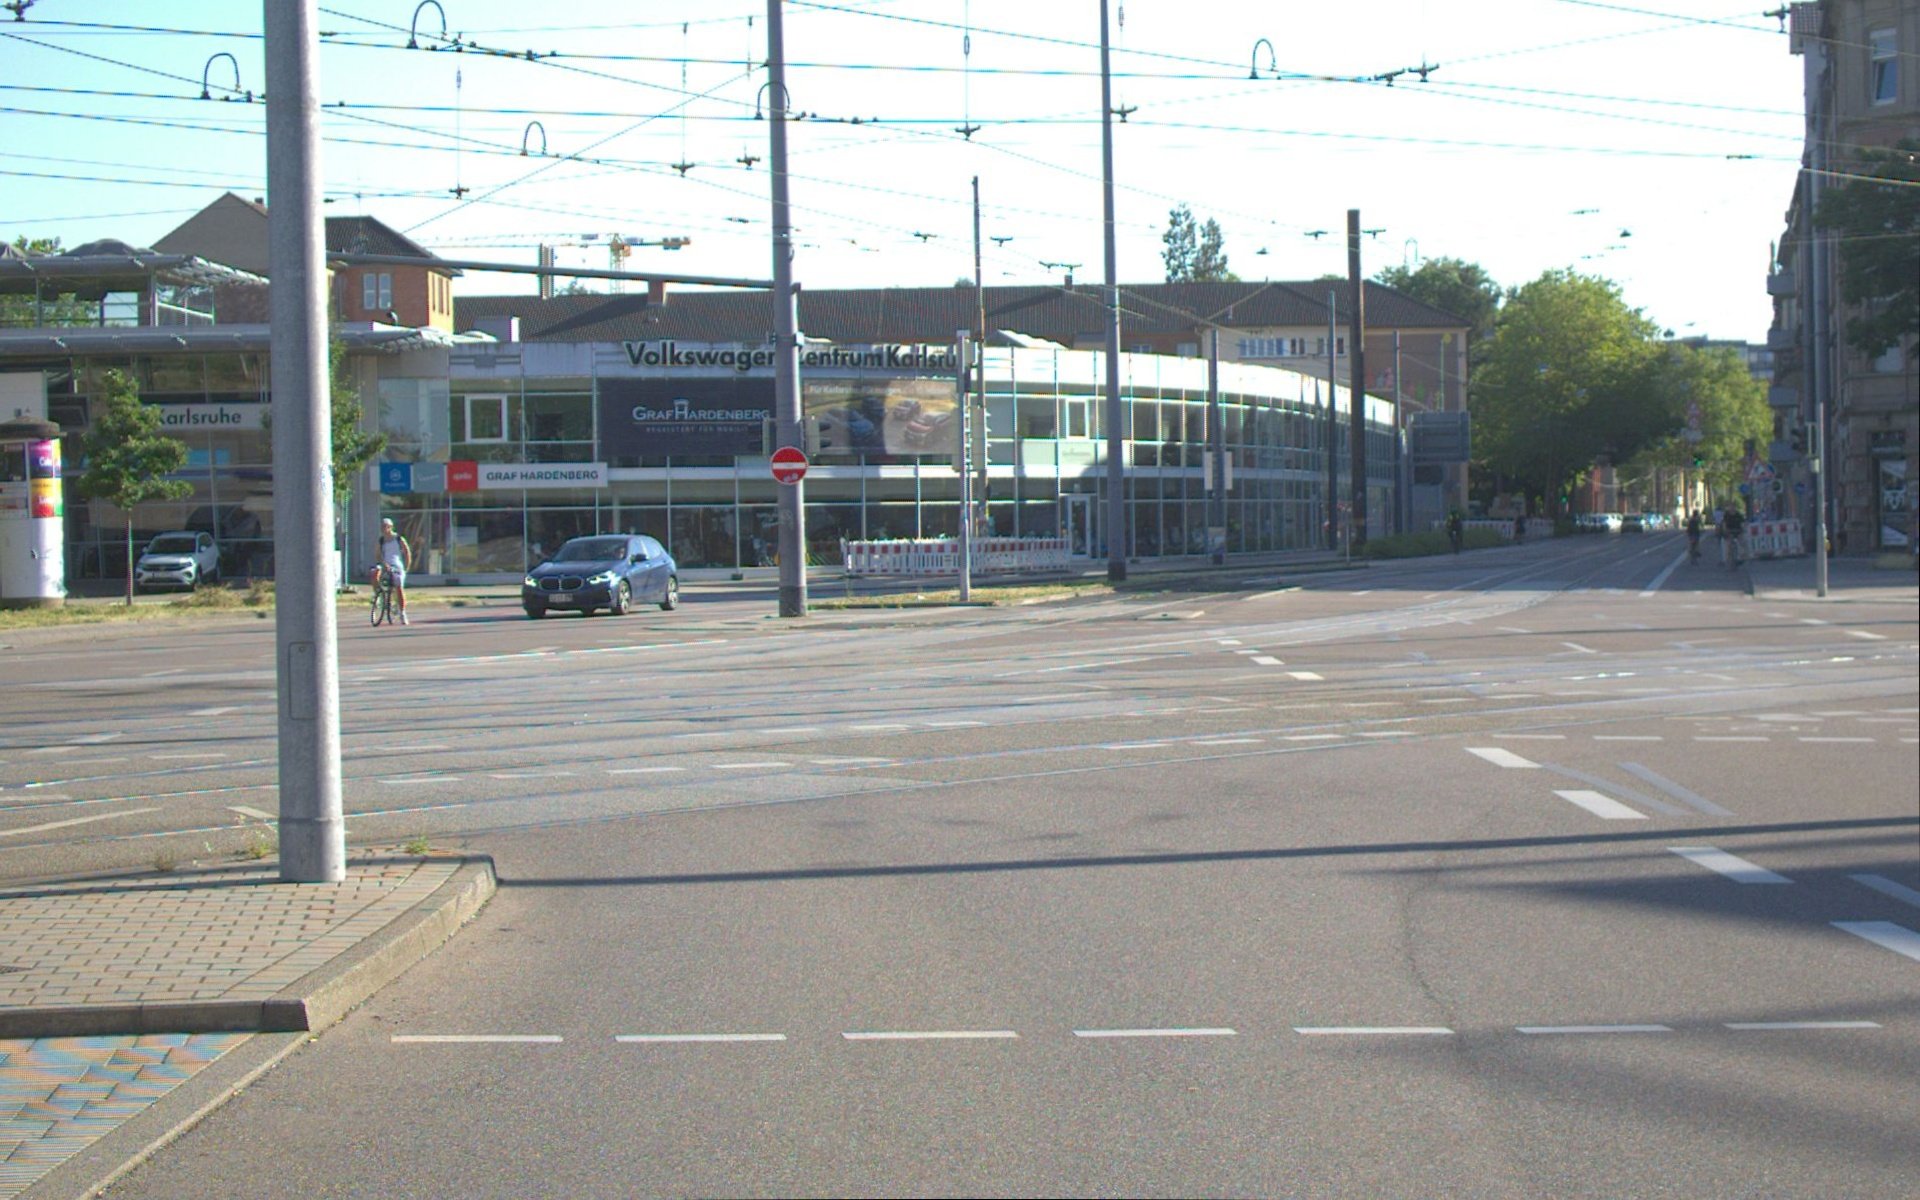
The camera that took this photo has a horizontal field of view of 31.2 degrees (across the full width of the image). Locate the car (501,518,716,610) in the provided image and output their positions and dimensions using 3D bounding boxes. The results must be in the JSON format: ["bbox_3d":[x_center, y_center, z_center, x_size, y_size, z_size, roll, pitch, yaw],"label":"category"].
[{"bbox_3d":[-6.268,-0.641,61.681,1.996,1.579,3.994,1,1,27],"label":"car"}]

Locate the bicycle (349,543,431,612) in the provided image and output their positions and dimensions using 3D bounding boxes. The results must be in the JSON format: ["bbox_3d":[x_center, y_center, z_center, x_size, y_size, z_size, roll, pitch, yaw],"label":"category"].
[{"bbox_3d":[-9.878,-0.390,59.636,0.613,1.185,1.867,1,1,17],"label":"bicycle"}]

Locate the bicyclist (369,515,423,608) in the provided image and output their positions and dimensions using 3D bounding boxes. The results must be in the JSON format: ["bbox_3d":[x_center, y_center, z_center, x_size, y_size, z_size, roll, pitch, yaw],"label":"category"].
[{"bbox_3d":[-9.813,-0.667,59.851,0.598,1.610,0.822,1,0,17],"label":"bicyclist"}]

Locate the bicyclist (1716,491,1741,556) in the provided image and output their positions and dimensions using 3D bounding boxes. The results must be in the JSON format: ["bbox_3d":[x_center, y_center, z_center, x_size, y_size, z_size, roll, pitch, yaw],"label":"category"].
[{"bbox_3d":[20.216,-2.000,90.457,0.518,1.695,0.516,1,0,3],"label":"bicyclist"}]

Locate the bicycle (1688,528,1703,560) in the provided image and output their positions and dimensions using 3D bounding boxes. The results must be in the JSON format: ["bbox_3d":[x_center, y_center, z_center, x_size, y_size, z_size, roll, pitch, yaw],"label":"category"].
[{"bbox_3d":[21.979,-1.656,102.763,0.410,0.938,1.844,1,1,12],"label":"bicycle"}]

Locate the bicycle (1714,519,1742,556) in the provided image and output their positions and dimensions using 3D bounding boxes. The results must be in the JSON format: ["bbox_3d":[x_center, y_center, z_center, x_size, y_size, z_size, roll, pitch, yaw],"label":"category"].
[{"bbox_3d":[20.202,-1.643,90.394,0.658,0.949,1.599,1,1,15],"label":"bicycle"}]

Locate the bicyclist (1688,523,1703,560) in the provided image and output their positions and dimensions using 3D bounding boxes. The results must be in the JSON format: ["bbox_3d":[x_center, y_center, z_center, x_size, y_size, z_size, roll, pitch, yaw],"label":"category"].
[{"bbox_3d":[21.949,-1.744,102.647,0.408,1.112,0.399,1,0,11],"label":"bicyclist"}]

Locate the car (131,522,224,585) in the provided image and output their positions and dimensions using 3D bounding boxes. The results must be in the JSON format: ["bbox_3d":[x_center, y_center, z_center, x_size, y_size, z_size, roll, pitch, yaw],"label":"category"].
[{"bbox_3d":[-22.552,-1.345,99.252,1.993,1.744,4.001,1,1,-4],"label":"car"}]
